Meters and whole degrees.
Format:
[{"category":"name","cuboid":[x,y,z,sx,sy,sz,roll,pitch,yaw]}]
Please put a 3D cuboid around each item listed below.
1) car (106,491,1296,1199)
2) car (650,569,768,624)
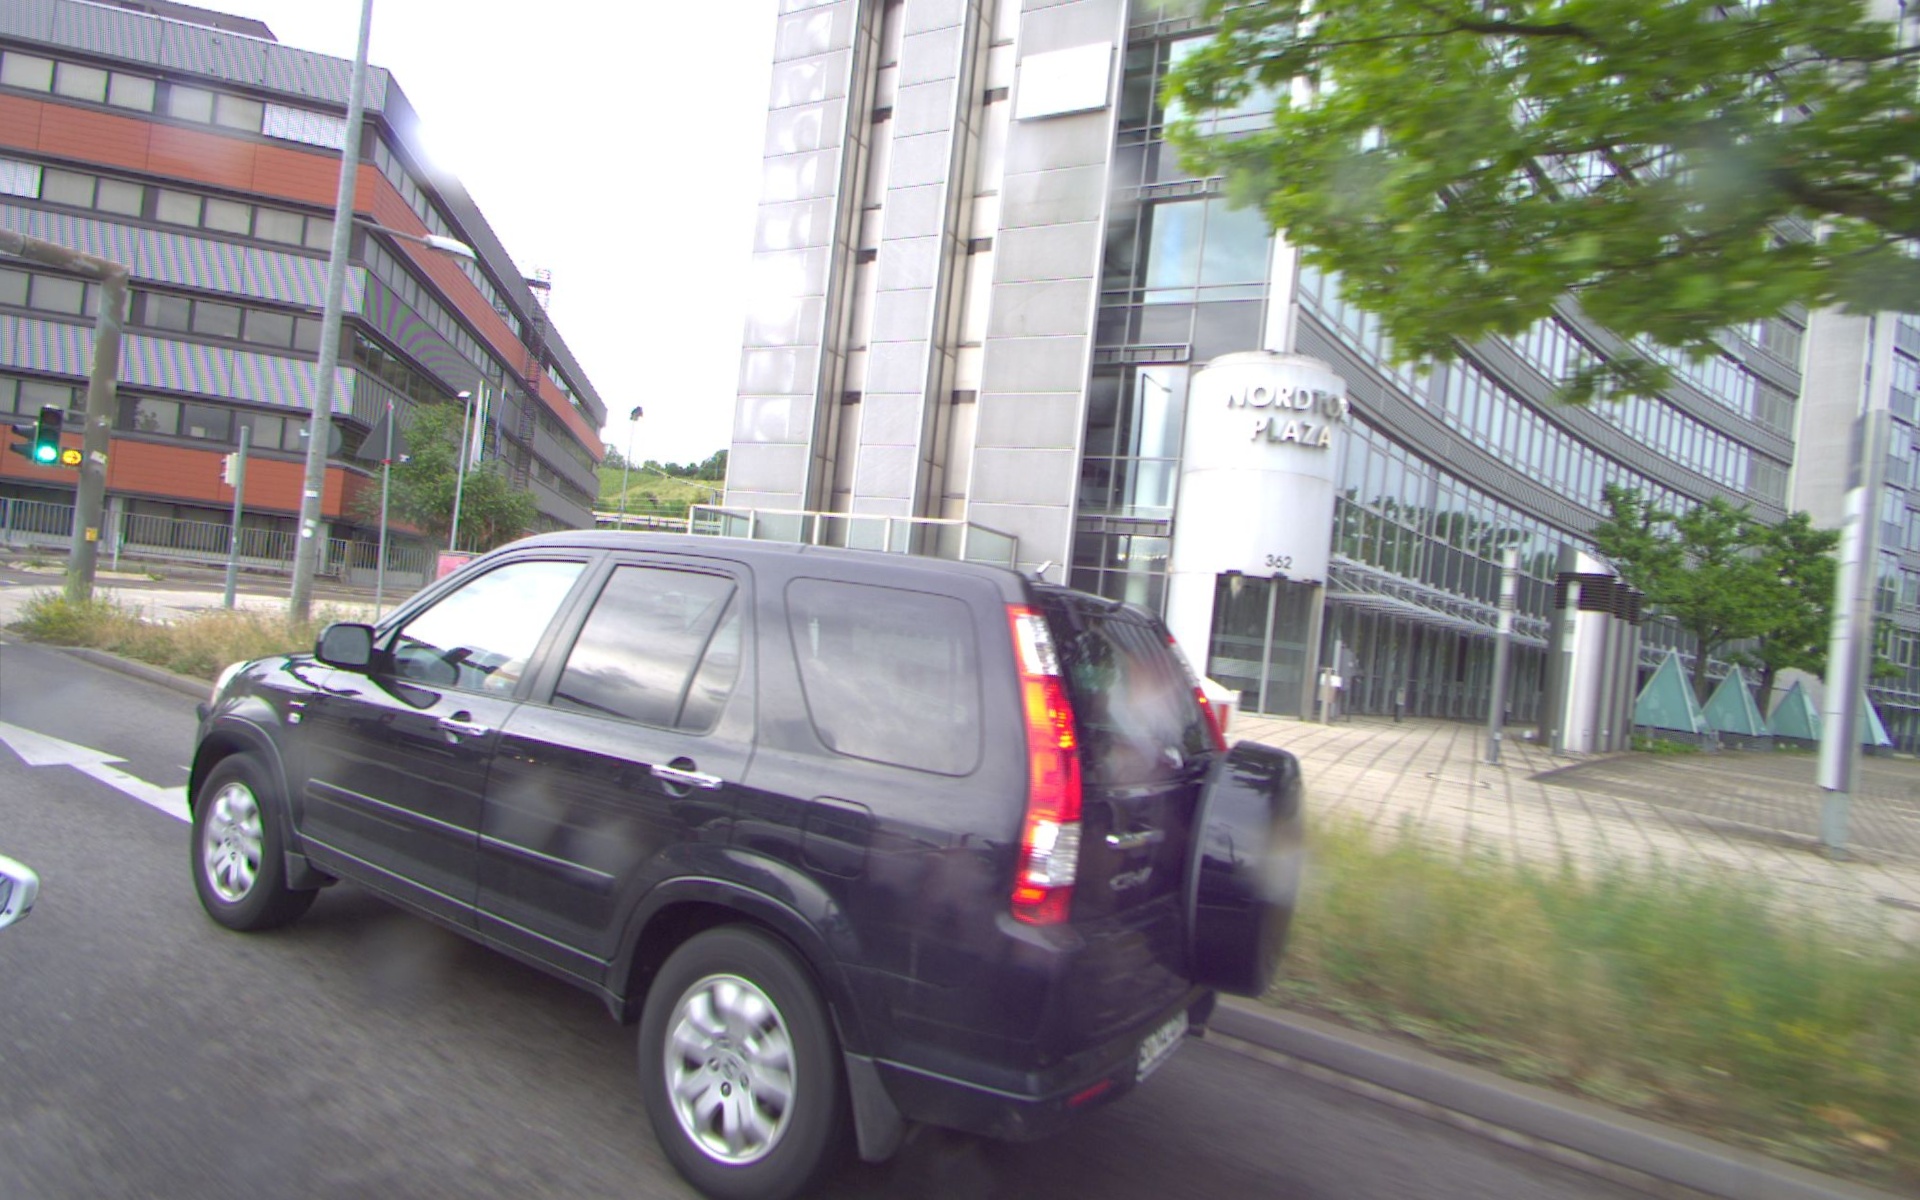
[{"category":"car","cuboid":[-1.175,0.637,3.831,4.253,1.647,1.770,5,-4,31]},{"category":"car","cuboid":[-11.799,-0.134,47.610,1.973,1.937,5.062,4,-4,41]}]
